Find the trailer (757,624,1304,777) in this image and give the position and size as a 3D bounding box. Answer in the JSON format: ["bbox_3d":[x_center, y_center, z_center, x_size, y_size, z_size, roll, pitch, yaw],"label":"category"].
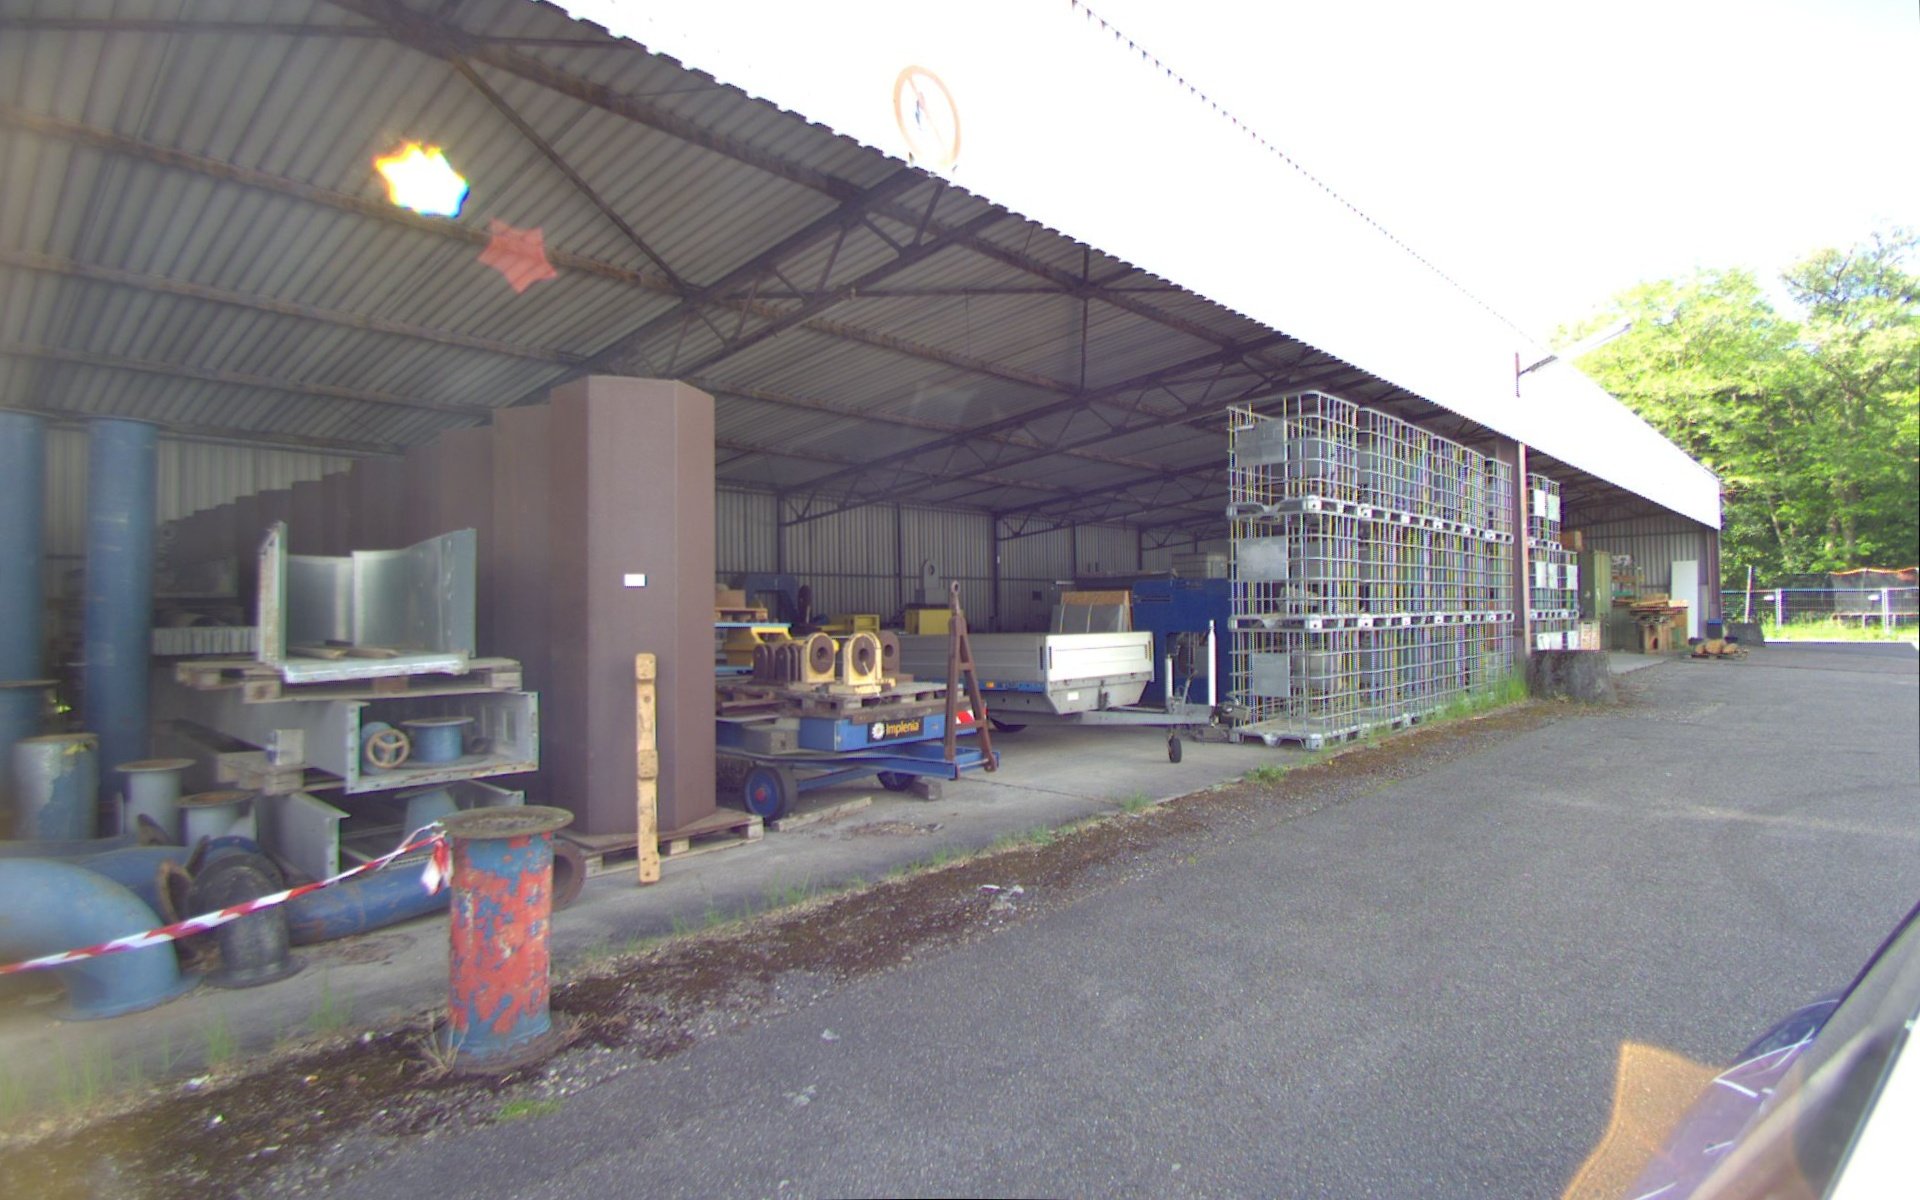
[{"bbox_3d":[0.416,0.853,10.598,5.729,1.147,1.978,-1,-1,42],"label":"trailer"}]

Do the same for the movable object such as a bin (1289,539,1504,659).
[{"bbox_3d":[10.927,-0.008,25.518,4.611,2.757,1.970,0,-1,42],"label":"movable object such as a bin"}]

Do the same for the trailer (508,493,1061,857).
[{"bbox_3d":[-1.686,0.406,8.073,2.013,2.022,4.821,0,0,-44],"label":"trailer"}]
